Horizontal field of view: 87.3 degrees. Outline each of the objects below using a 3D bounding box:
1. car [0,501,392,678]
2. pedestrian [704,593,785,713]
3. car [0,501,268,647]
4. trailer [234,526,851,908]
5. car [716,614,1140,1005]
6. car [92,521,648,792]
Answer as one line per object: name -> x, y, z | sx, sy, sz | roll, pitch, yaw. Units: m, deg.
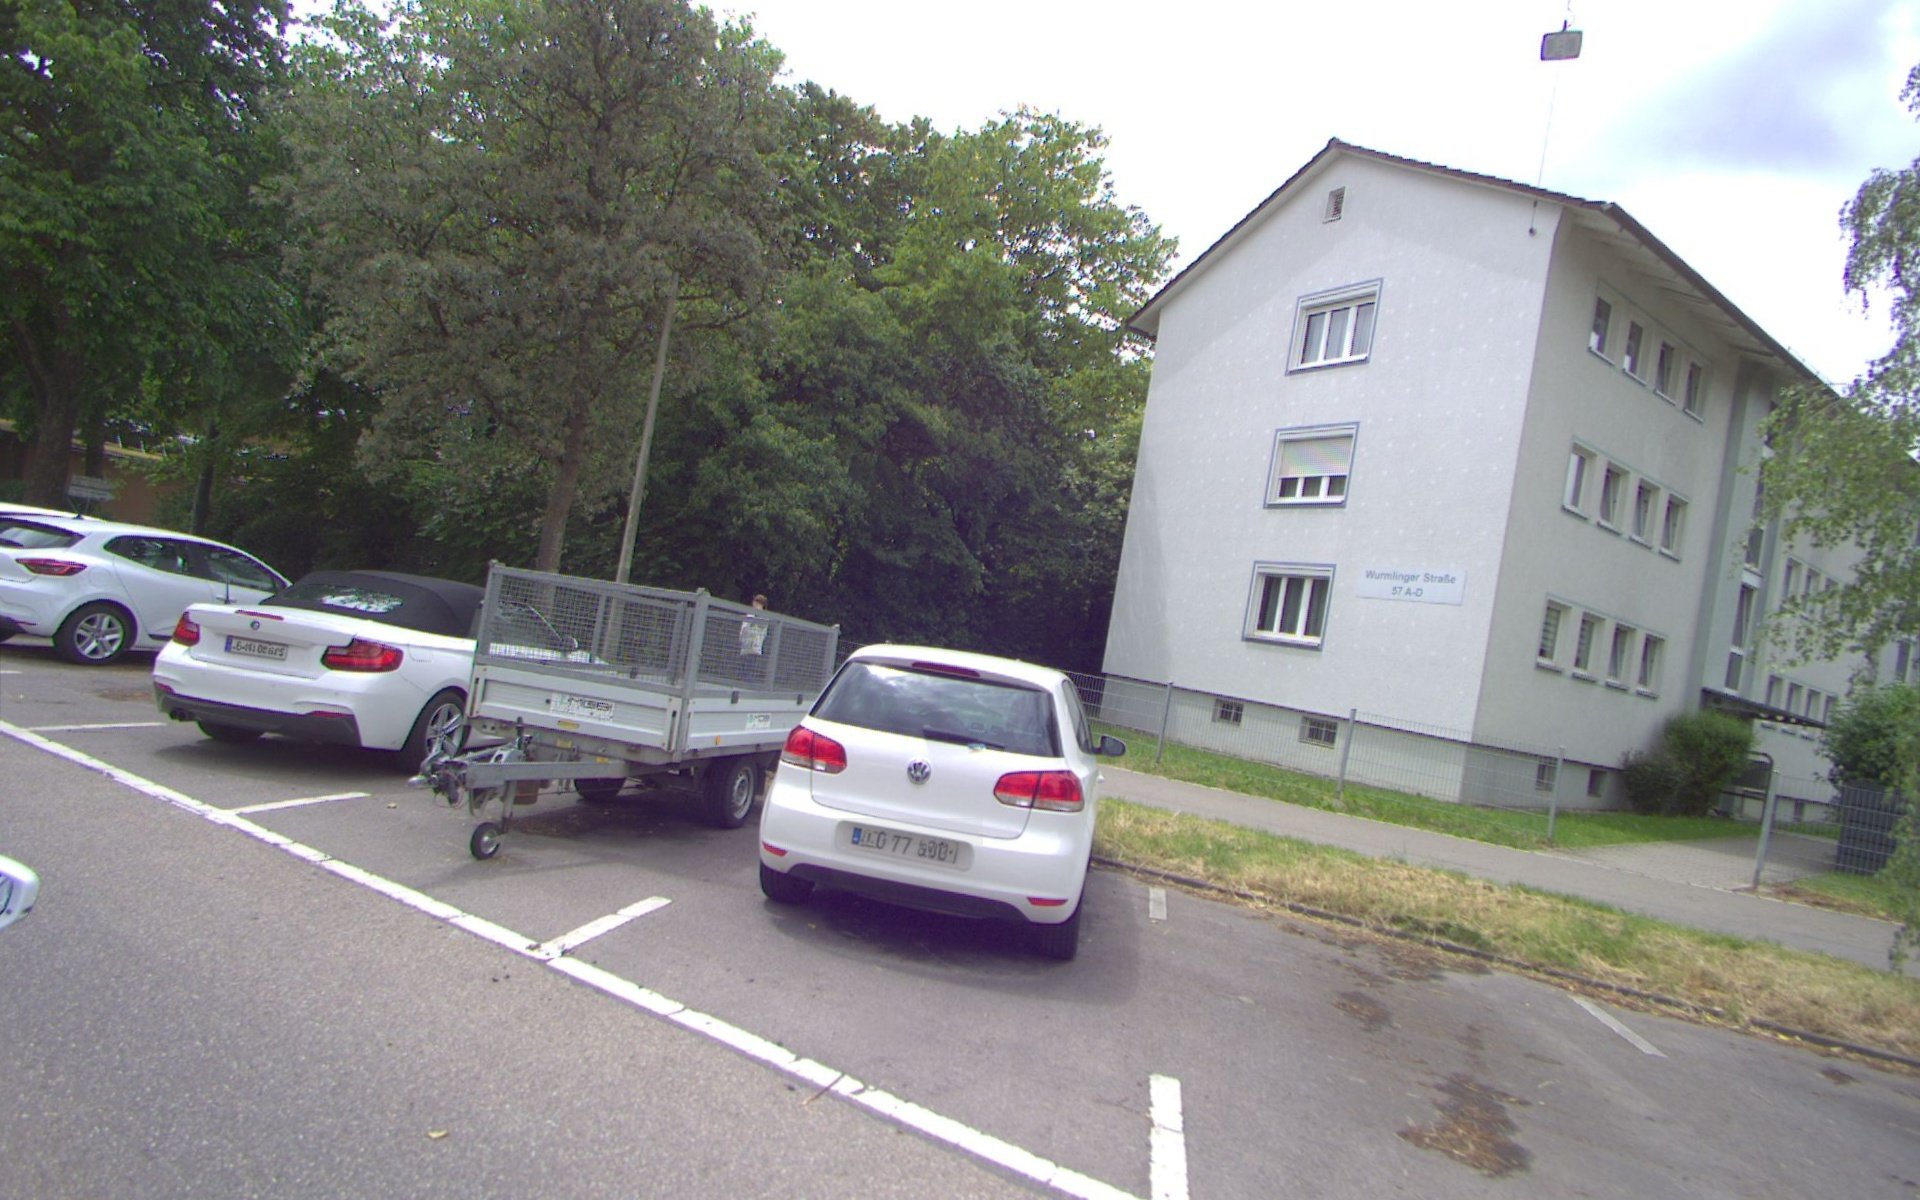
car -> -8.917, -0.041, 11.451 | 1.762, 1.479, 4.008 | 7, -4, 17
pedestrian -> -3.230, 0.789, 15.051 | 0.689, 1.662, 0.769 | 9, -2, -40
car -> -11.319, -0.361, 12.641 | 1.830, 1.479, 4.008 | 8, -3, 12
trailer -> -2.252, 0.668, 6.736 | 1.627, 1.570, 4.006 | 8, -2, 13
car -> 0.175, 1.096, 6.555 | 1.757, 1.479, 4.008 | 8, -3, 11
car -> -4.416, 0.502, 8.425 | 1.816, 1.479, 4.008 | 8, -3, 7
